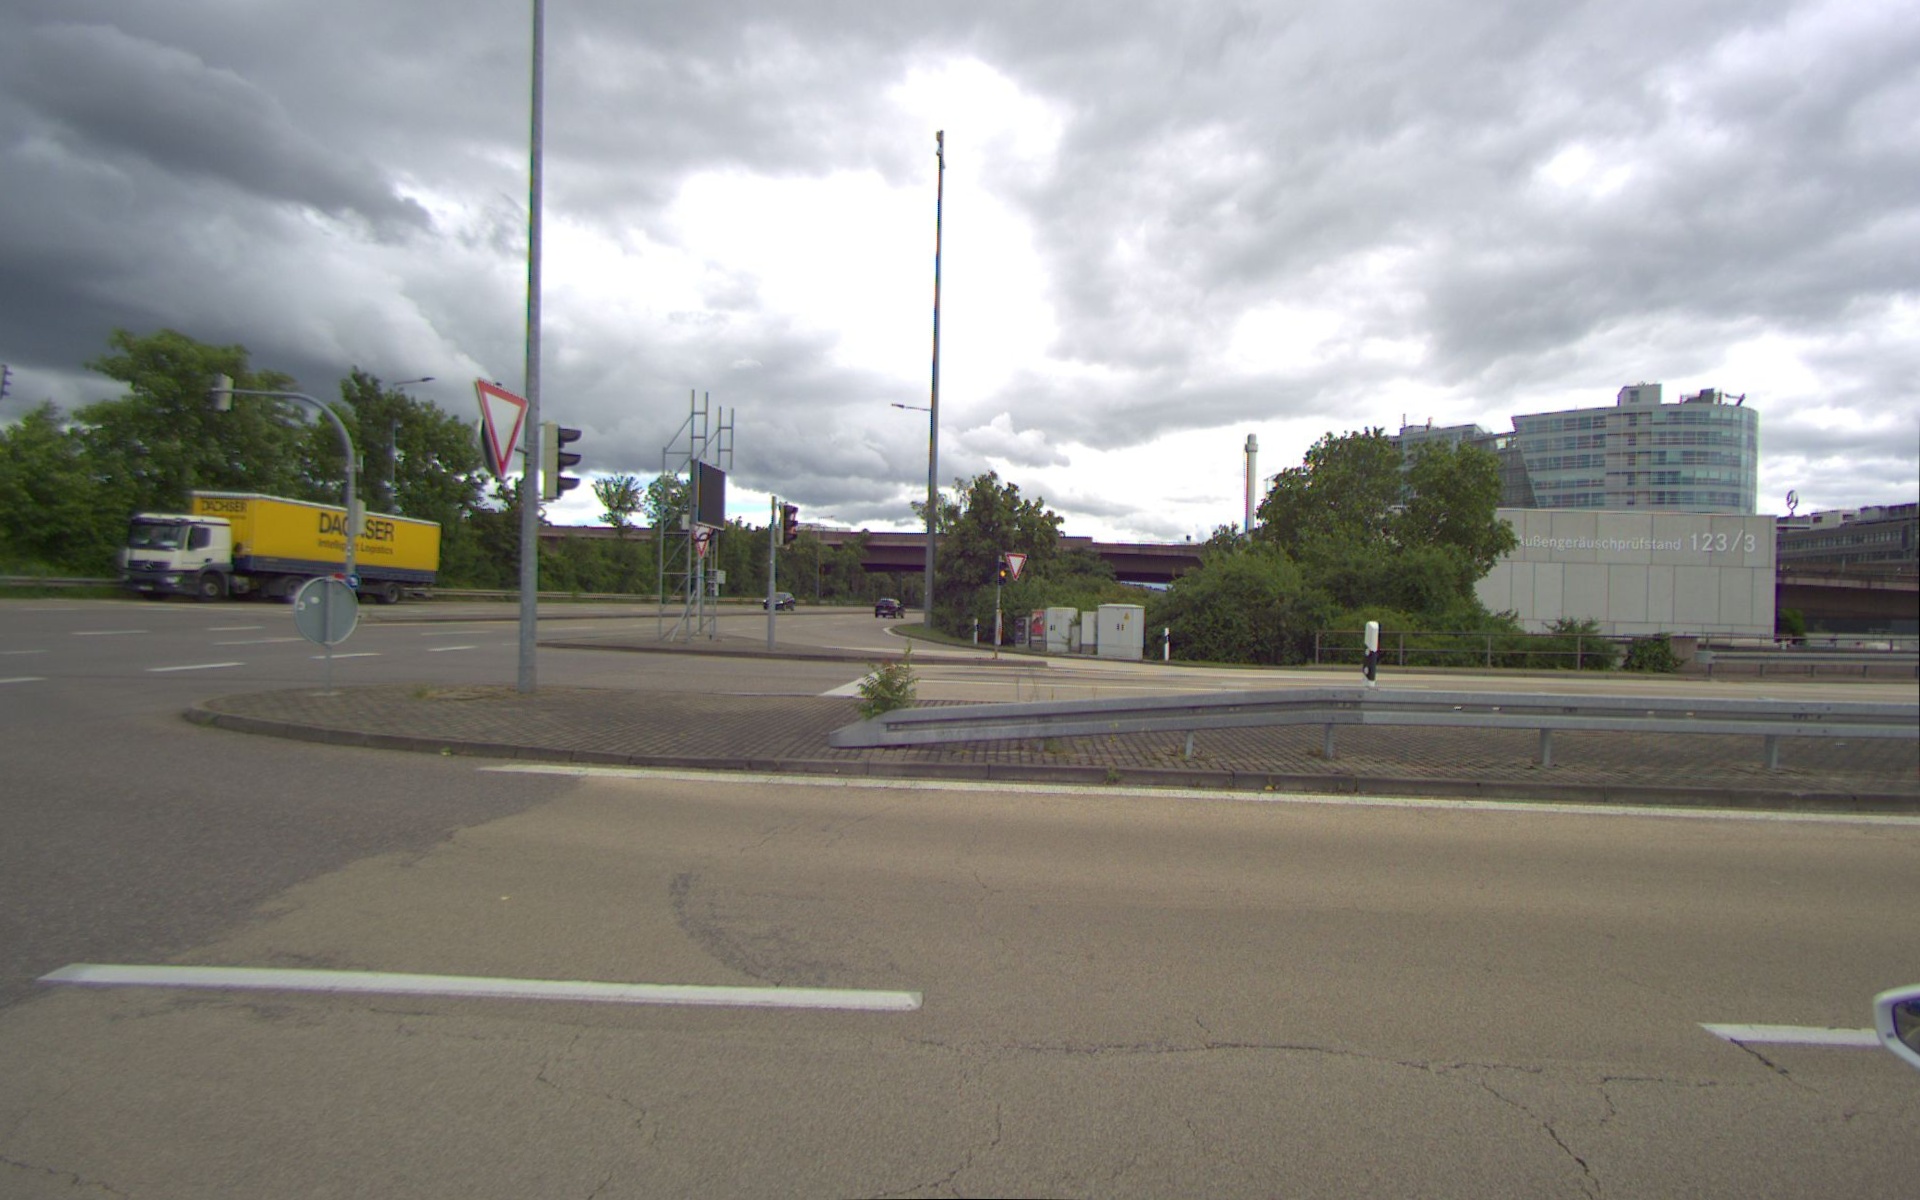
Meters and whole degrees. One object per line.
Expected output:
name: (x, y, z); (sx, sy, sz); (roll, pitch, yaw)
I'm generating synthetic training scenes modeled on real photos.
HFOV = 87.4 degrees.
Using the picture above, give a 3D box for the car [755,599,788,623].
car: (-15.597, 0.856, 83.268); (1.596, 1.683, 4.126); (4, 3, 5)

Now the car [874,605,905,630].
car: (-5.462, 1.319, 78.383); (1.890, 1.581, 4.000); (4, 3, 3)

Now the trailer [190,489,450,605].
trailer: (-27.194, -1.998, 43.819); (2.582, 4.260, 11.663); (2, 0, 7)

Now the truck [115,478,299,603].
truck: (-27.959, -2.073, 37.605); (2.582, 4.260, 5.105); (2, 0, 7)

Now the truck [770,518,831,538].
truck: (-27.390, -12.359, 172.507); (10.668, 3.285, 2.284); (2, 0, 22)
